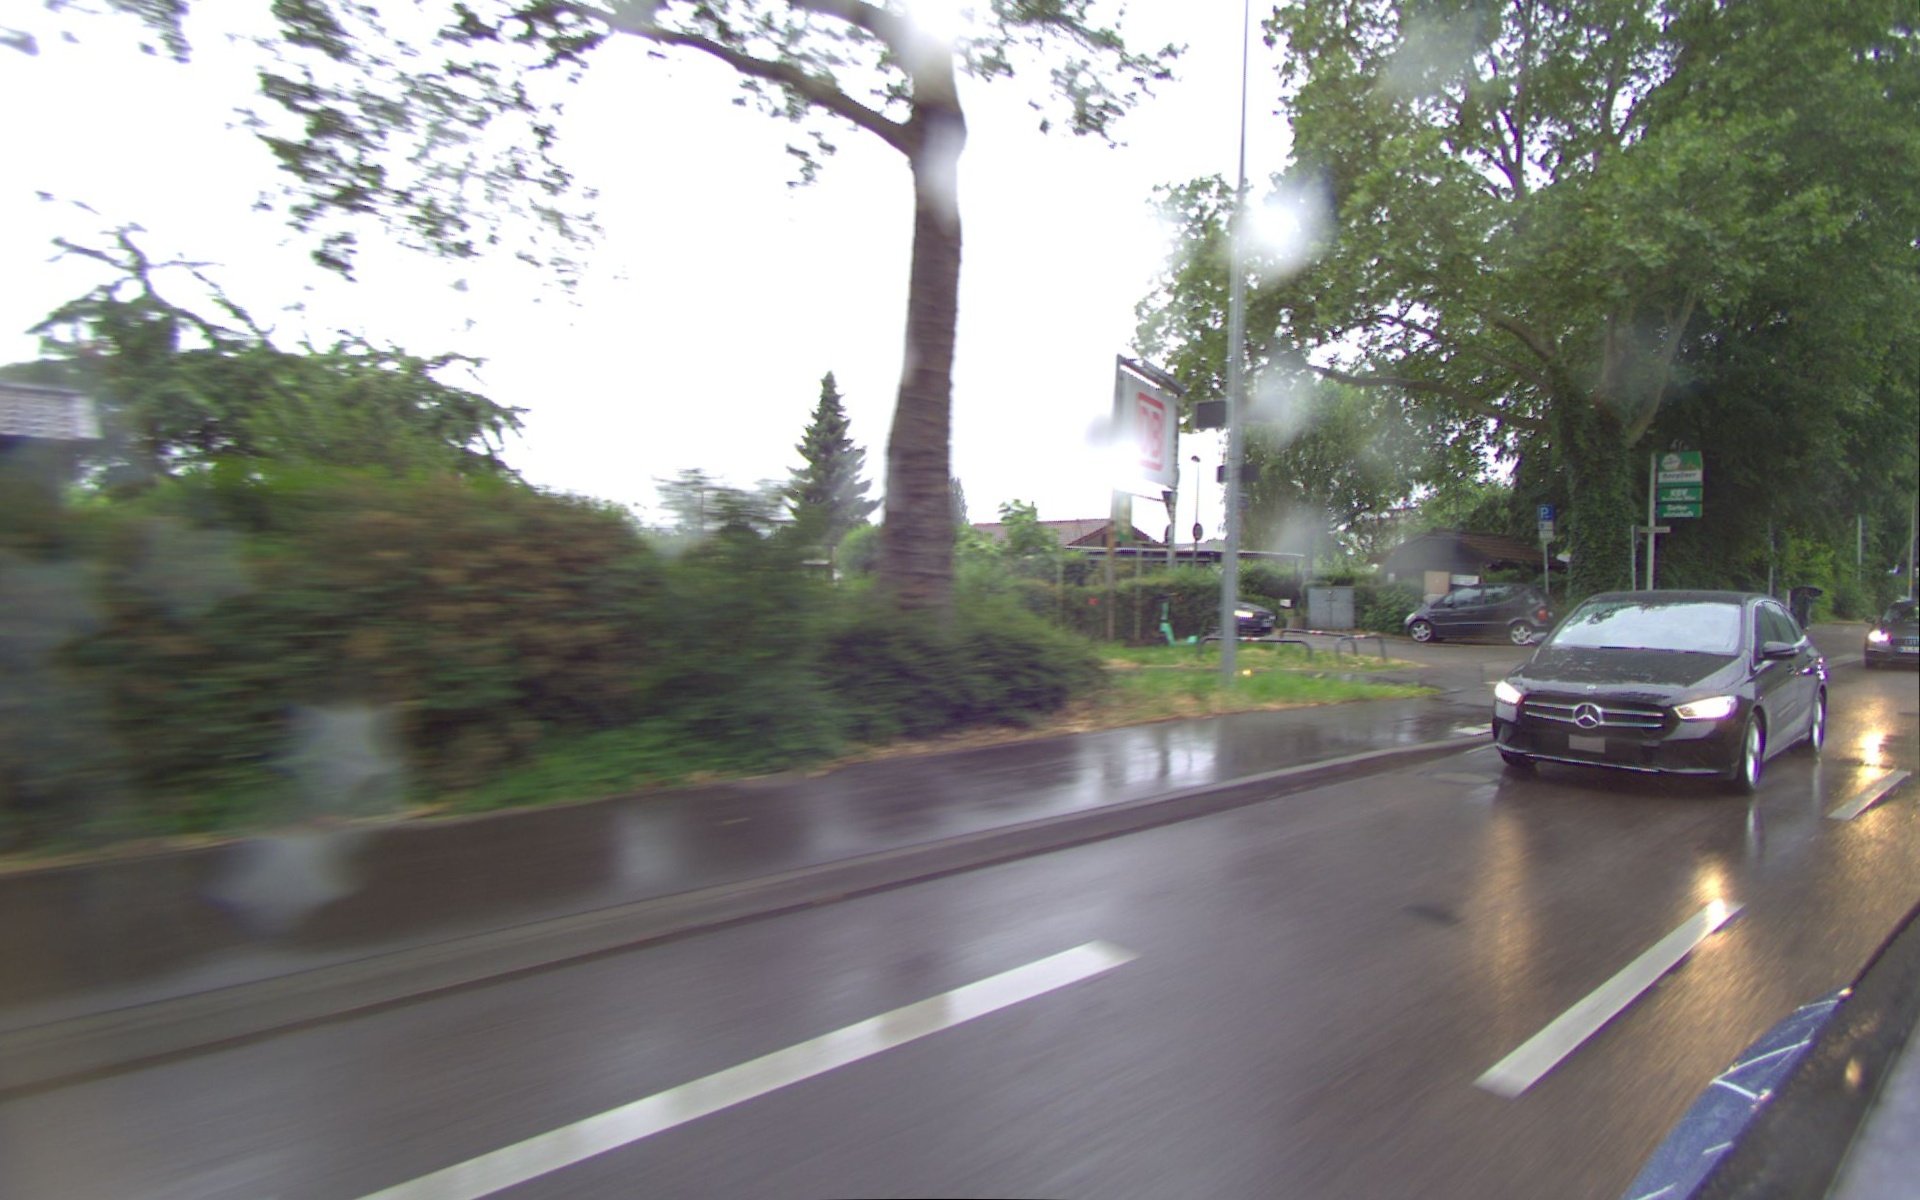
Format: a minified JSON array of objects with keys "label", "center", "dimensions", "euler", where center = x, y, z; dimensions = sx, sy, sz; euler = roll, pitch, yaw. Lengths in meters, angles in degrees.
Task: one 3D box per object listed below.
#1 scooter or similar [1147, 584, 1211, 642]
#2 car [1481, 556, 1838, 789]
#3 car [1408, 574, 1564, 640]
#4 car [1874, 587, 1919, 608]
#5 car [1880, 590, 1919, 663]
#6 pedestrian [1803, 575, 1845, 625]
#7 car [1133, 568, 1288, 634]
[{"label":"scooter or similar","center":[4.387,0.252,20.295],"dimensions":[1.250,1.131,0.460],"euler":[-1,0,-29]},{"label":"car","center":[6.322,0.460,8.918],"dimensions":[4.350,1.549,1.817],"euler":[-1,0,-45]},{"label":"car","center":[13.783,0.159,26.565],"dimensions":[3.375,1.629,1.635],"euler":[1,0,40]},{"label":"car","center":[68.285,-0.206,73.038],"dimensions":[1.580,1.450,3.550],"euler":[-1,0,6]},{"label":"car","center":[20.642,0.518,21.190],"dimensions":[3.717,1.402,1.640],"euler":[-1,1,-42]},{"label":"pedestrian","center":[30.497,0.011,35.731],"dimensions":[1.121,1.724,0.968],"euler":[-2,0,-42]},{"label":"car","center":[6.127,0.020,24.942],"dimensions":[1.630,1.516,3.386],"euler":[1,0,-41]}]
